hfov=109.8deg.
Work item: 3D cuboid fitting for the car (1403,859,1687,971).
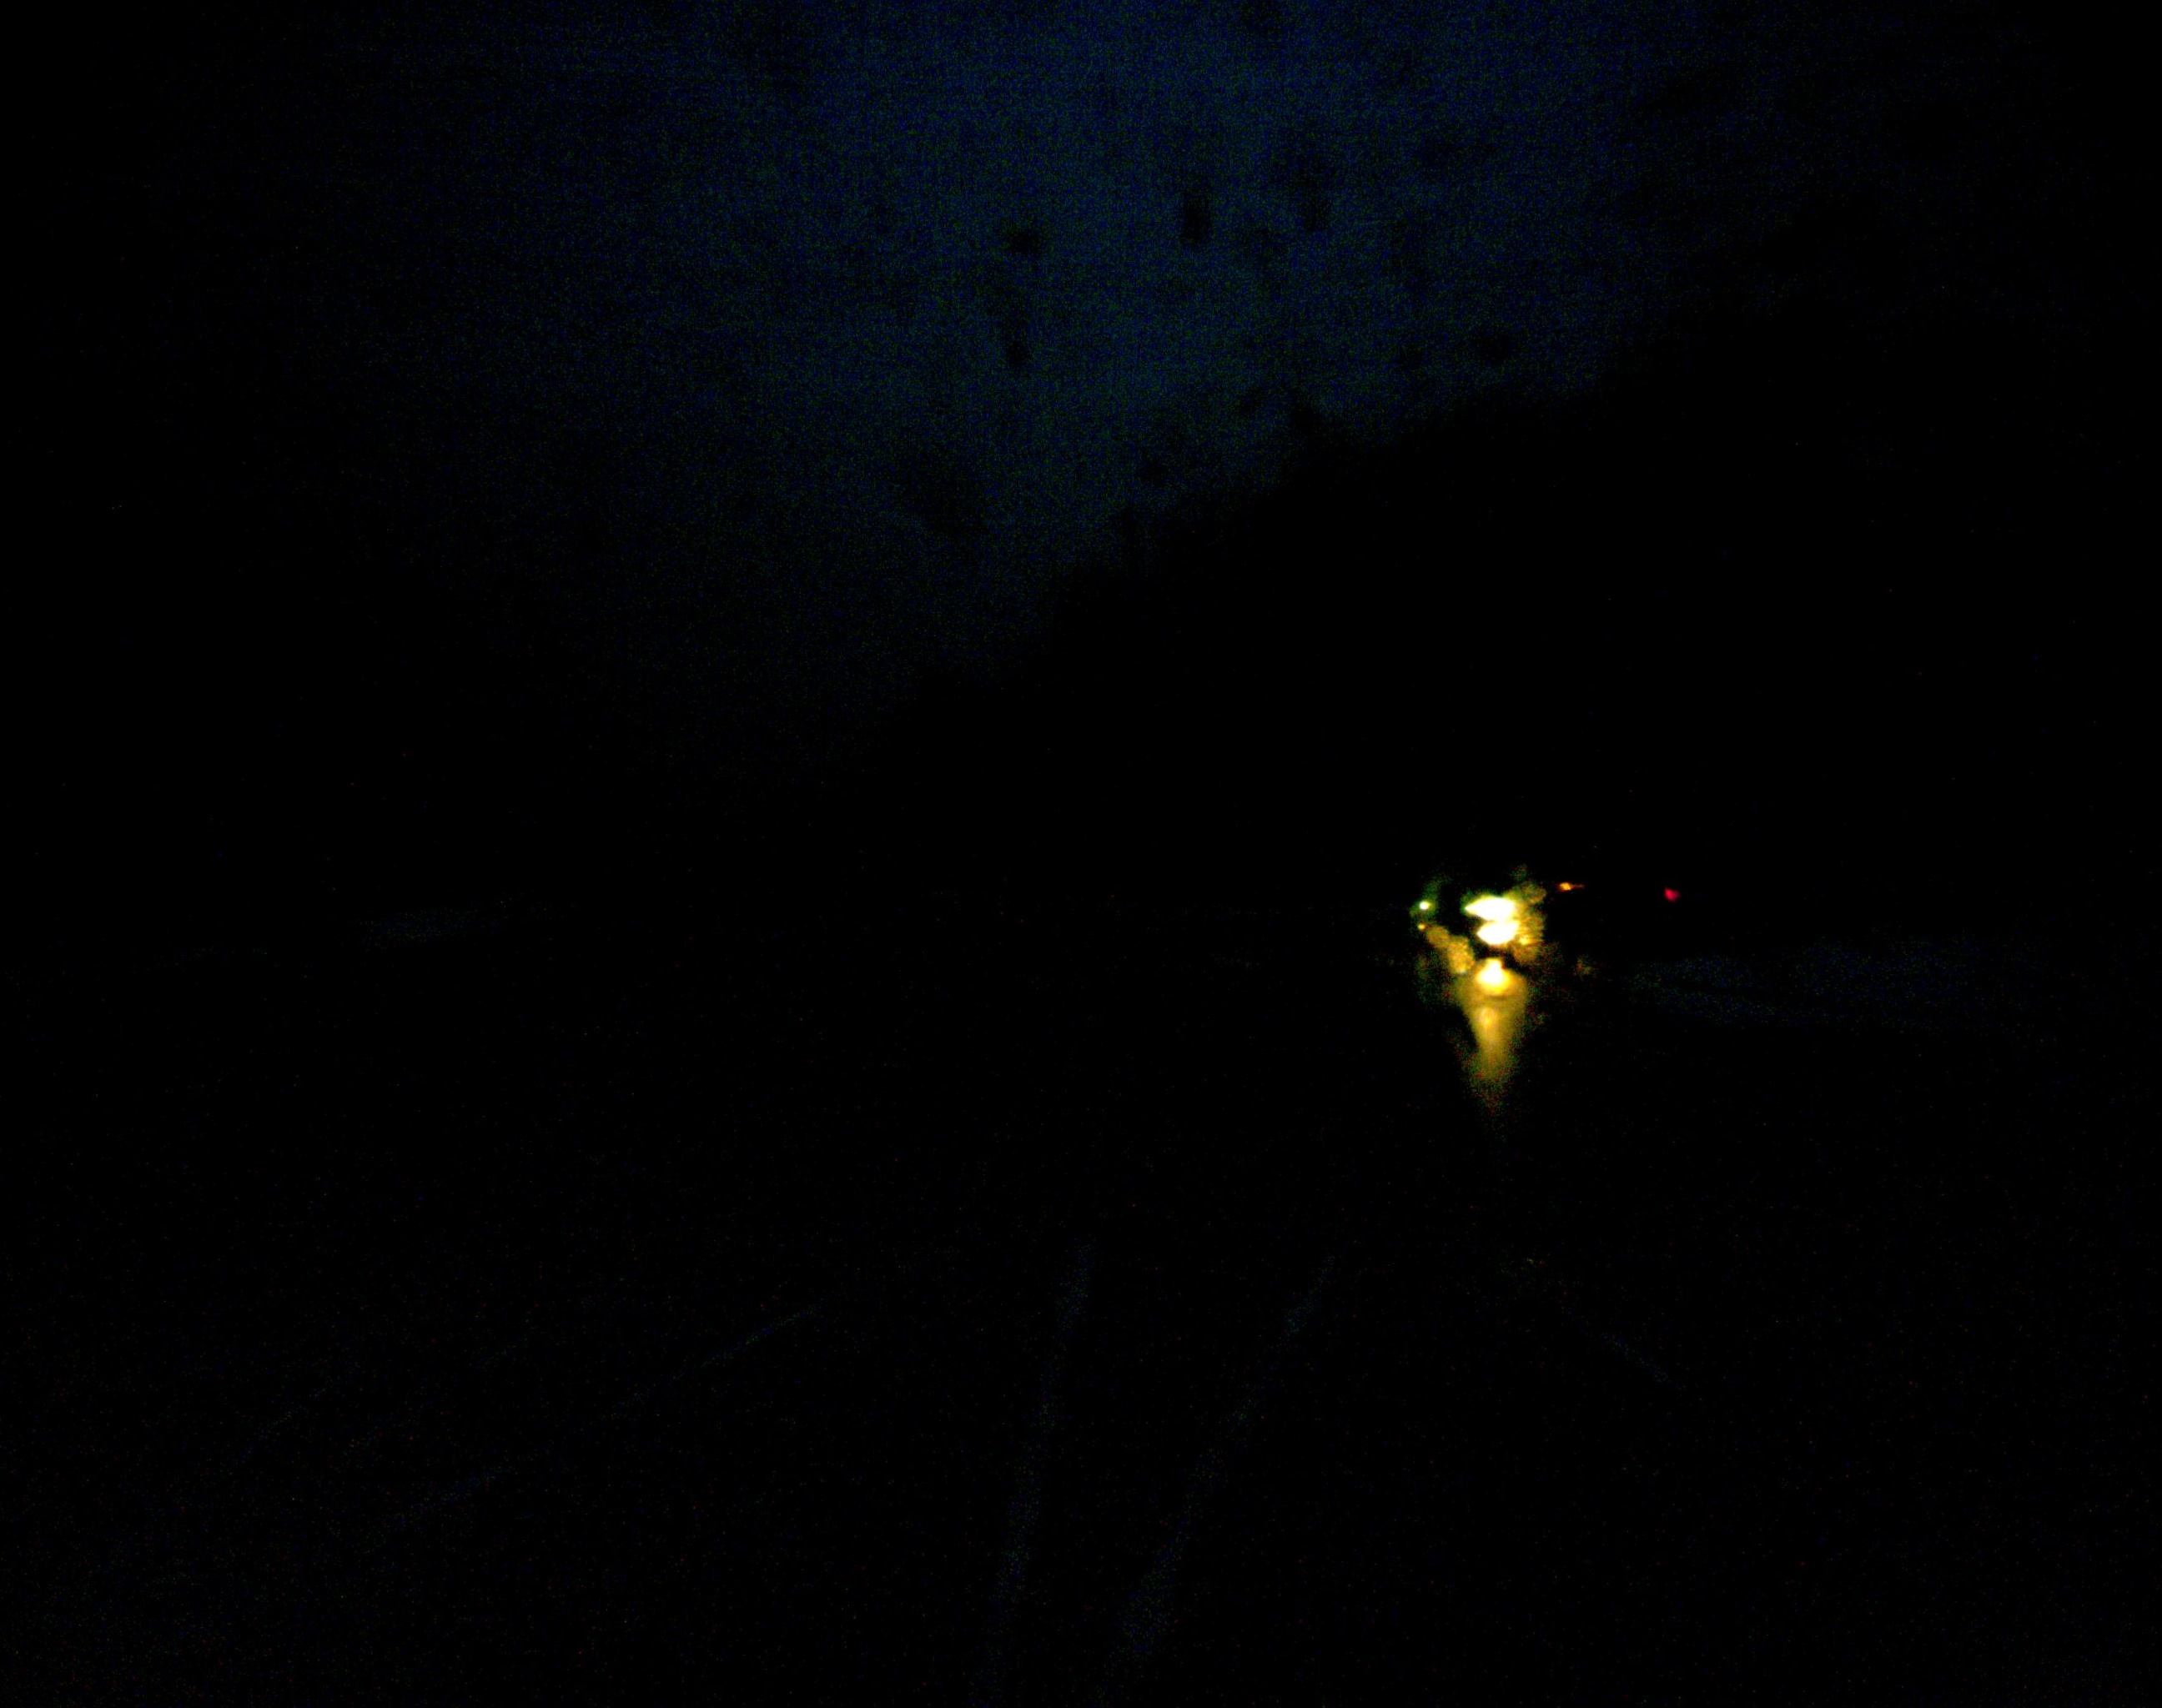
[{"bbox_3d":[7.136,0.847,11.776,3.679,1.426,1.724,-2,0,-17],"label":"car"}]
